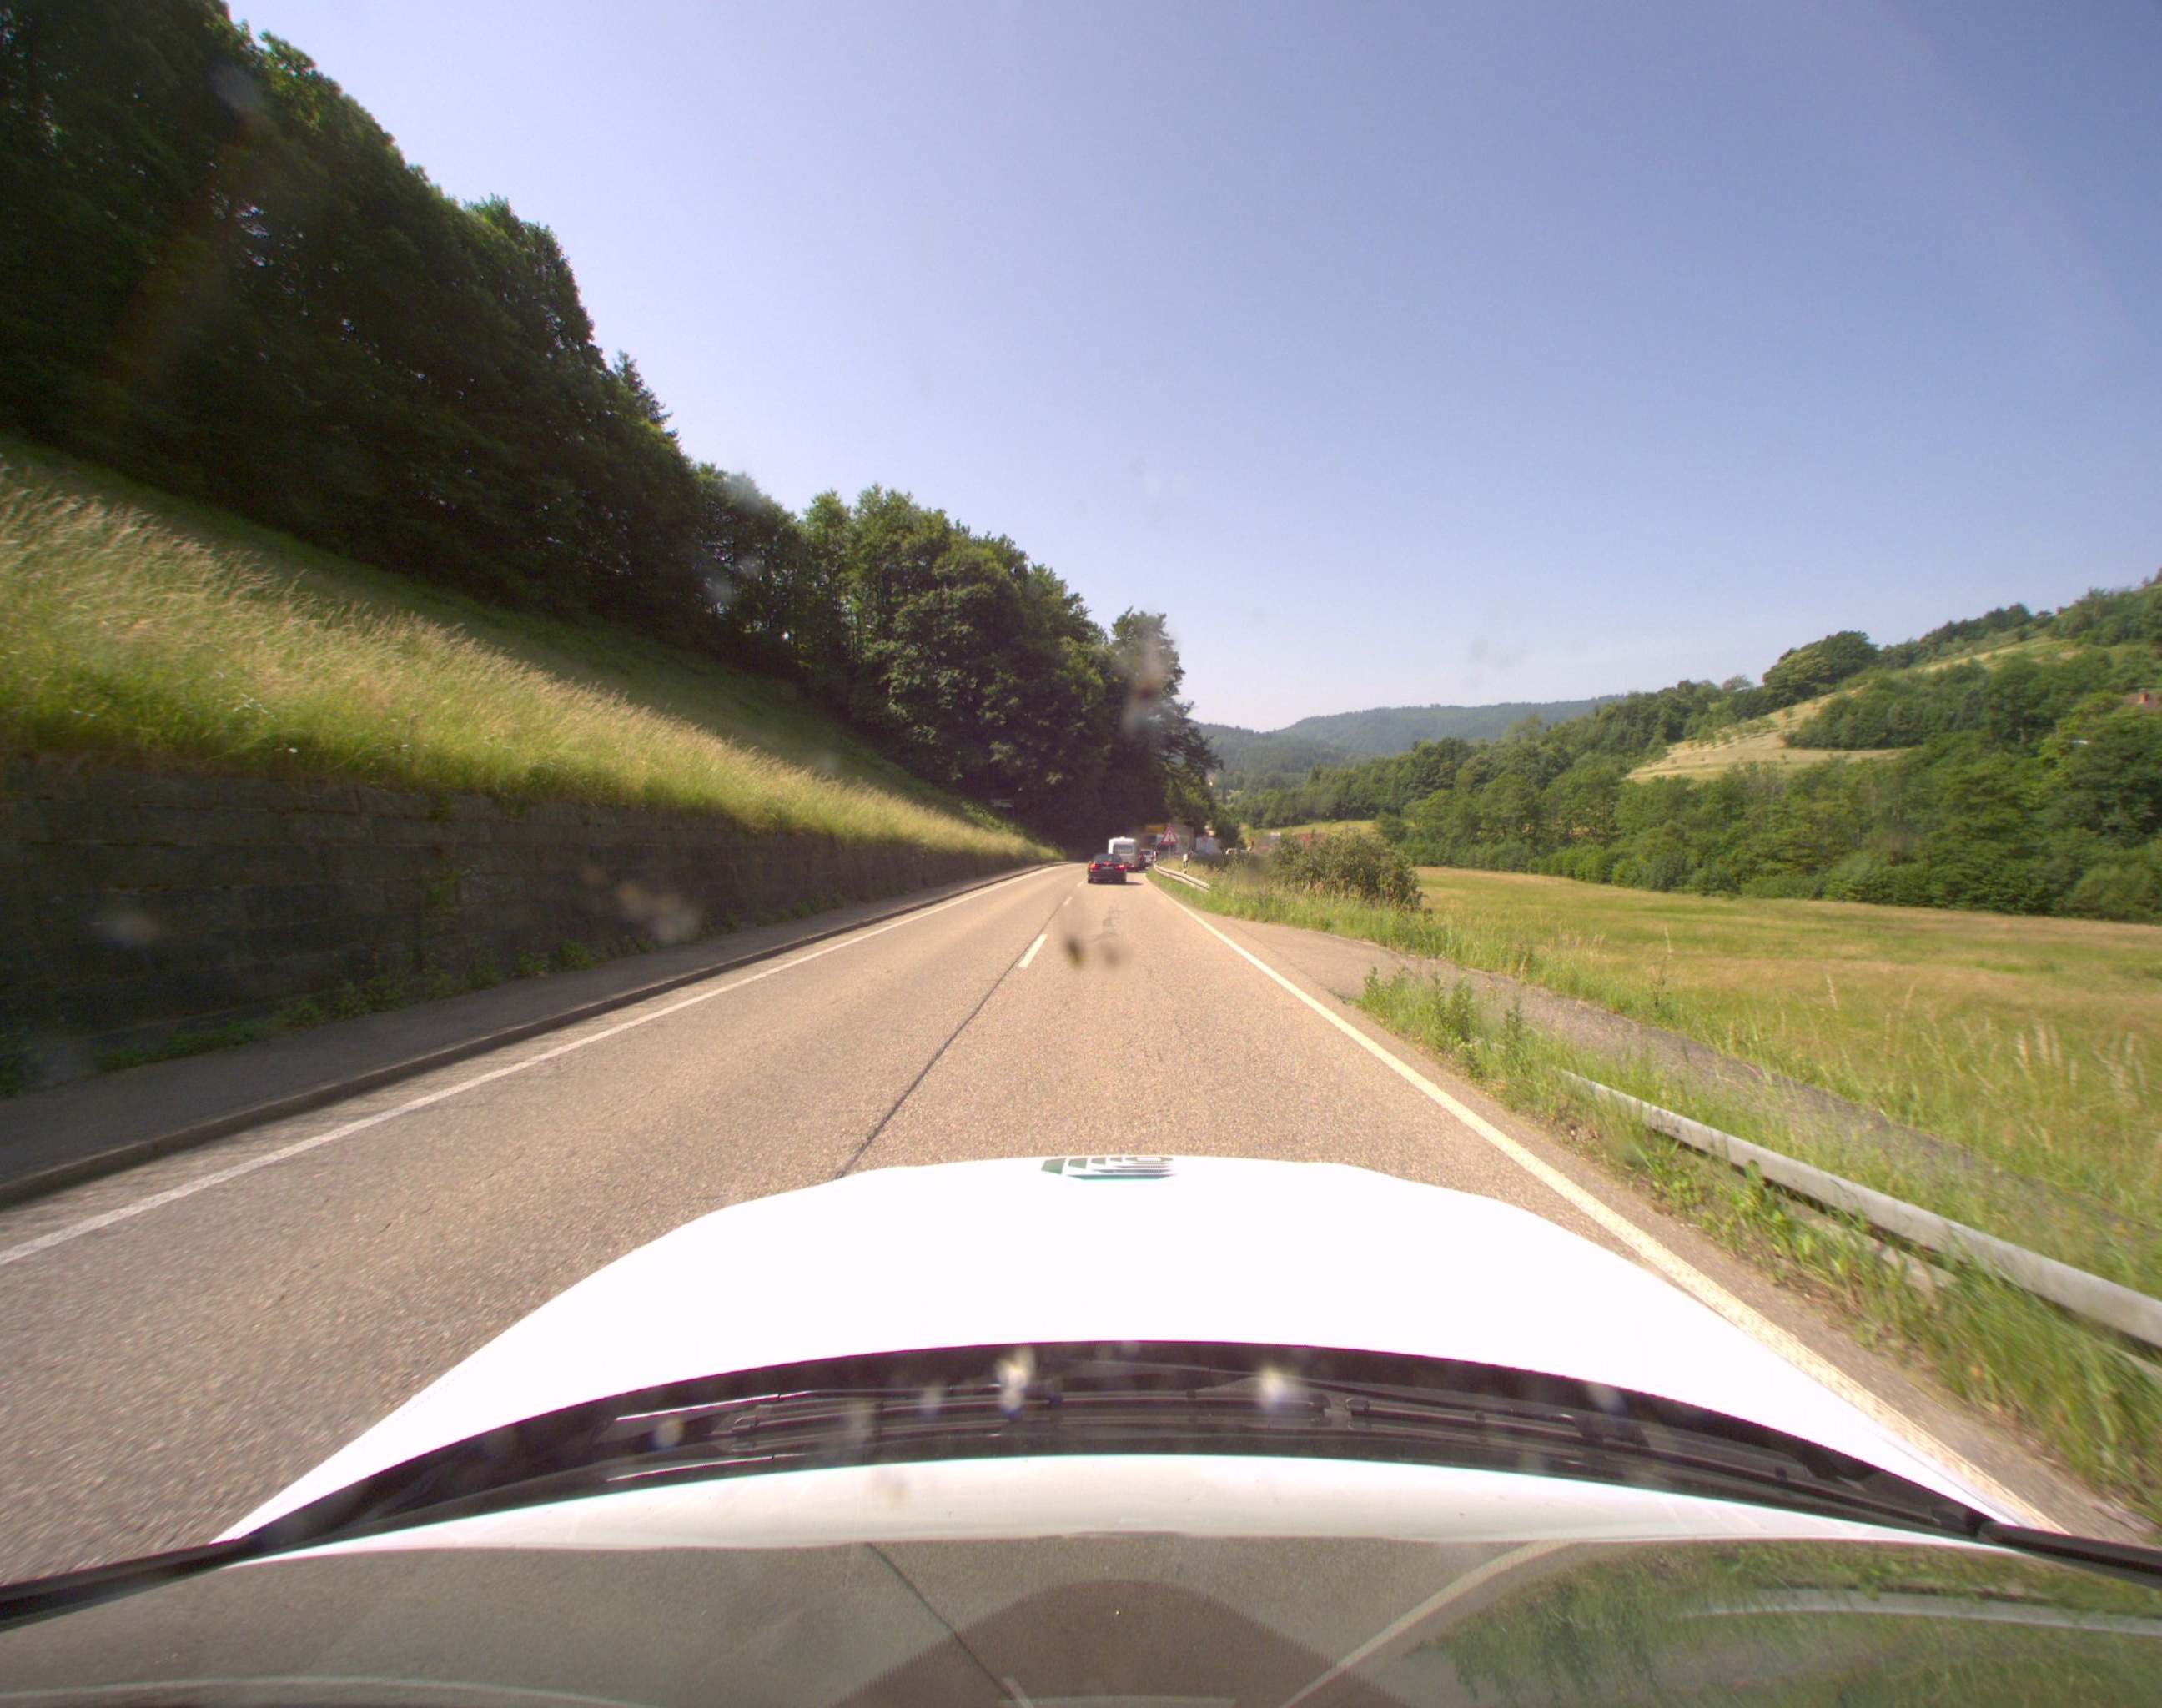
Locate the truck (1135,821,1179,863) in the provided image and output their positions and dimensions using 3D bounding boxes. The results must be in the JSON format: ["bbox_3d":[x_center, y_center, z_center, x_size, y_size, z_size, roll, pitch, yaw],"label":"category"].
[{"bbox_3d":[8.412,-1.319,89.627,3.163,4.396,6.603,3,2,19],"label":"truck"}]

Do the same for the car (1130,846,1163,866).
[{"bbox_3d":[5.413,0.148,67.091,1.980,1.484,4.015,3,1,14],"label":"car"}]

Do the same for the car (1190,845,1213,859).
[{"bbox_3d":[13.989,-0.201,94.445,1.772,1.463,4.021,4,2,21],"label":"car"}]

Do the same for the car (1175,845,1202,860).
[{"bbox_3d":[11.512,-0.221,87.320,1.977,1.463,4.020,4,2,19],"label":"car"}]

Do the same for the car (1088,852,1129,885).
[{"bbox_3d":[1.255,0.620,37.216,1.764,1.335,3.769,2,1,2],"label":"car"}]

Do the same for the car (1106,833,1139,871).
[{"bbox_3d":[2.846,-0.212,54.916,1.984,2.352,4.922,2,2,5],"label":"car"}]

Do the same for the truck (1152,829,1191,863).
[{"bbox_3d":[8.848,-0.770,79.254,2.772,2.997,6.893,3,2,13],"label":"truck"}]

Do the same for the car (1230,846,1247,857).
[{"bbox_3d":[23.717,-0.320,122.695,1.890,1.486,4.020,2,0,21],"label":"car"}]

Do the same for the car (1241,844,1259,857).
[{"bbox_3d":[27.343,-0.577,131.742,1.976,1.925,4.022,3,2,23],"label":"car"}]

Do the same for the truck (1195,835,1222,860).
[{"bbox_3d":[15.866,-0.756,101.037,2.219,2.804,6.260,2,0,18],"label":"truck"}]

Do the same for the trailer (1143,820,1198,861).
[{"bbox_3d":[10.940,-1.560,97.265,3.234,4.417,15.388,2,1,18],"label":"trailer"}]
